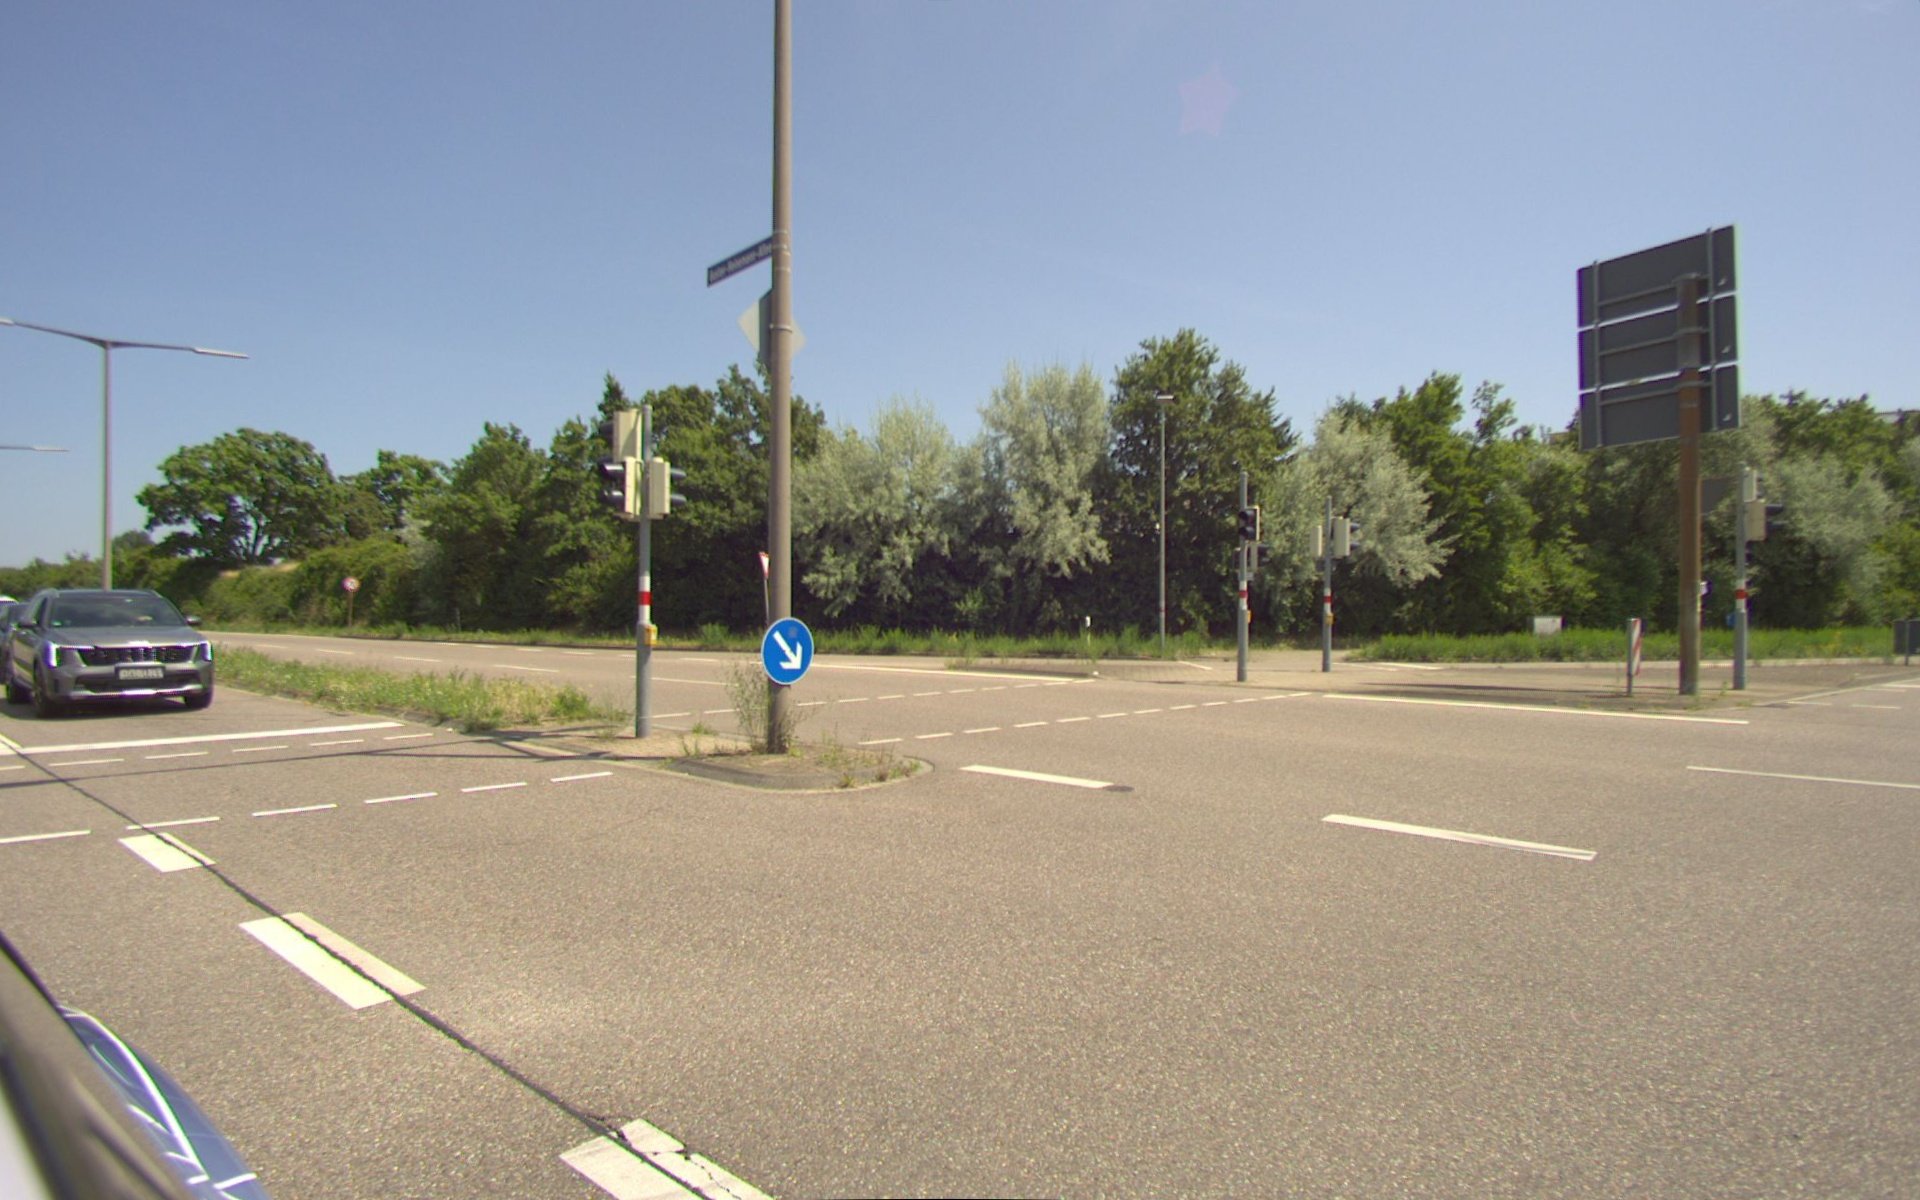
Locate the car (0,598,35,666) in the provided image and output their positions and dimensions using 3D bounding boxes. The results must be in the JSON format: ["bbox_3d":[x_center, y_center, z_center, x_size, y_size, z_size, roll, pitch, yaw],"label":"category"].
[{"bbox_3d":[-25.525,0.786,26.151,3.999,1.684,1.897,0,0,40],"label":"car"}]

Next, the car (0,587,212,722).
[{"bbox_3d":[-12.585,0.693,14.750,4.529,1.681,1.762,0,-1,41],"label":"car"}]

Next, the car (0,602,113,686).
[{"bbox_3d":[-18.636,0.823,20.445,3.998,1.511,1.730,0,0,41],"label":"car"}]
